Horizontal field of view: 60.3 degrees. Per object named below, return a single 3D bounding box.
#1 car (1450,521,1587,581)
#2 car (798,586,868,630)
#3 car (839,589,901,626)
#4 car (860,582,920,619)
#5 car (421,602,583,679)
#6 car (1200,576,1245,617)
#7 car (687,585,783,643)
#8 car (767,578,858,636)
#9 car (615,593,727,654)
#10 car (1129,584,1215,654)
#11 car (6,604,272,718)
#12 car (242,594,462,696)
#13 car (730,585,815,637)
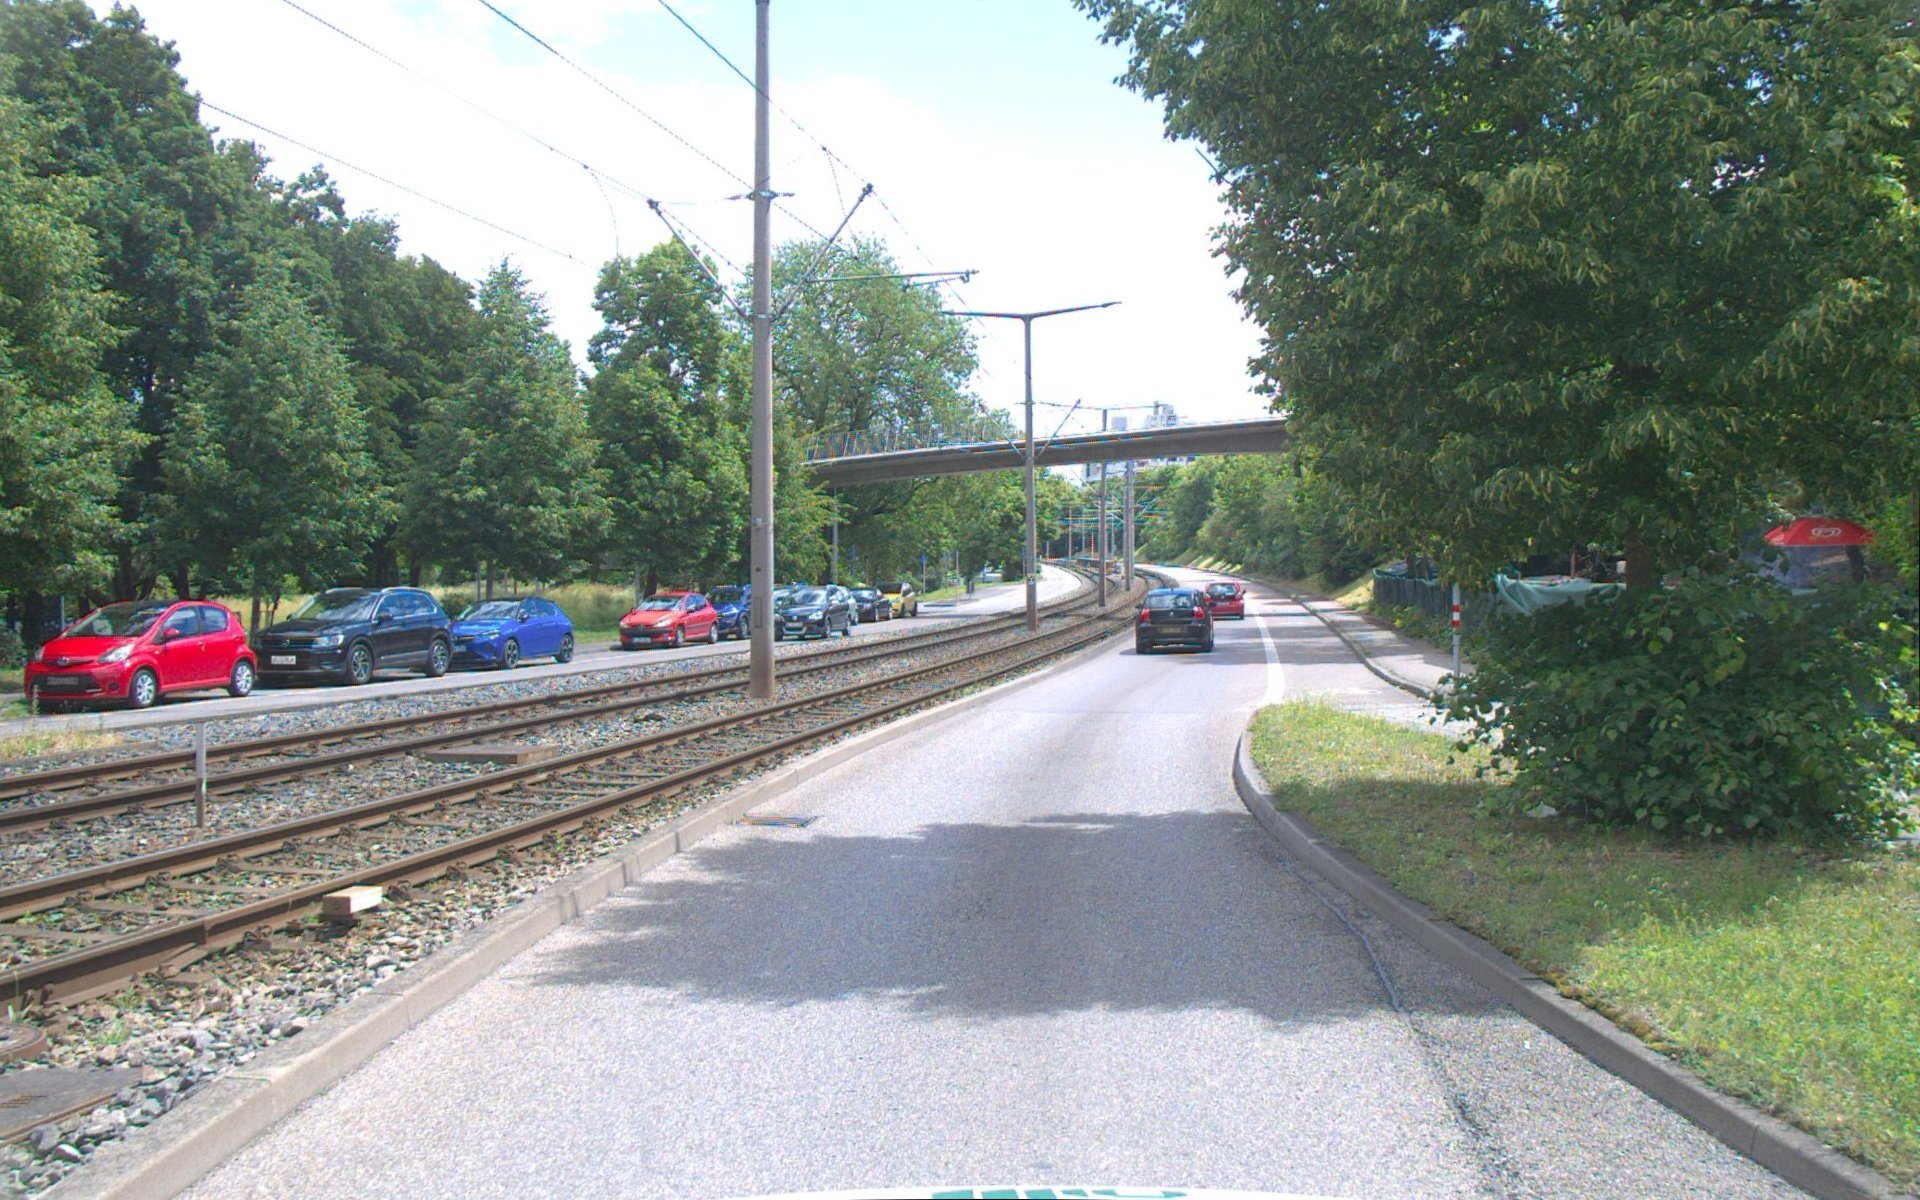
[{"bbox_3d":[20.253,-1.746,60.177,4.429,1.700,2.001,-5,-2,13],"label":"car"},{"bbox_3d":[-4.590,0.261,60.456,1.559,1.520,4.196,1,0,9],"label":"car"},{"bbox_3d":[-3.551,0.295,65.820,1.479,1.384,4.132,-1,0,11],"label":"car"},{"bbox_3d":[-2.965,0.029,70.665,1.653,1.476,3.901,1,-1,11],"label":"car"},{"bbox_3d":[-9.470,0.832,34.497,1.578,1.486,4.010,1,-1,11],"label":"car"},{"bbox_3d":[10.002,-0.104,62.767,1.589,1.469,3.424,1,-1,10],"label":"car"},{"bbox_3d":[-6.695,0.432,49.577,1.524,1.624,4.163,1,-1,11],"label":"car"},{"bbox_3d":[-4.229,0.220,48.061,1.579,1.601,4.003,1,-1,11],"label":"car"},{"bbox_3d":[-7.716,0.633,44.508,1.578,1.520,4.051,1,-1,11],"label":"car"},{"bbox_3d":[4.945,0.403,38.140,1.672,1.485,3.964,1,1,11],"label":"car"},{"bbox_3d":[-11.703,0.837,23.852,1.578,1.477,3.664,1,-1,9],"label":"car"},{"bbox_3d":[-10.593,0.770,29.183,1.546,1.633,4.378,1,-1,11],"label":"car"},{"bbox_3d":[-6.174,0.342,54.985,1.607,1.651,4.129,-1,0,11],"label":"car"}]
